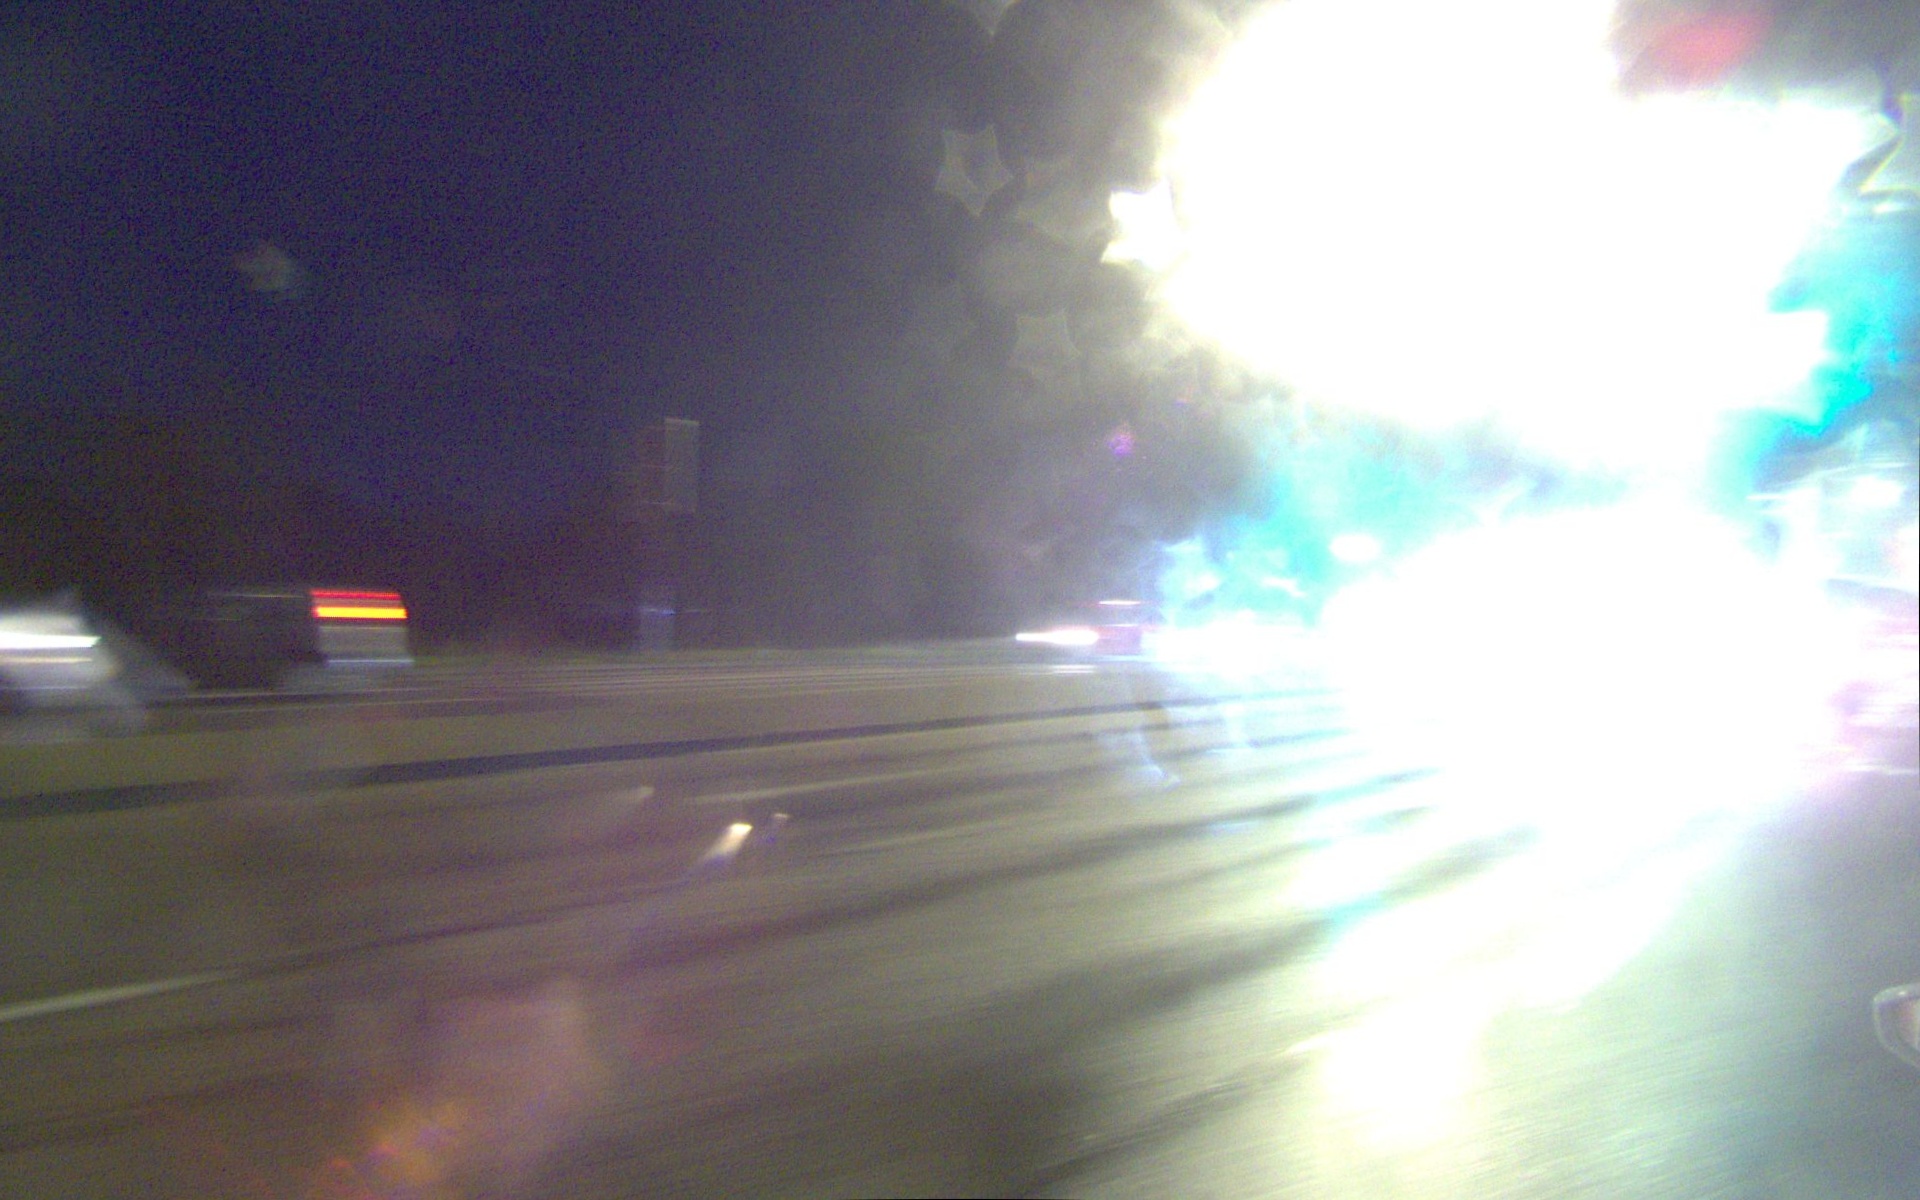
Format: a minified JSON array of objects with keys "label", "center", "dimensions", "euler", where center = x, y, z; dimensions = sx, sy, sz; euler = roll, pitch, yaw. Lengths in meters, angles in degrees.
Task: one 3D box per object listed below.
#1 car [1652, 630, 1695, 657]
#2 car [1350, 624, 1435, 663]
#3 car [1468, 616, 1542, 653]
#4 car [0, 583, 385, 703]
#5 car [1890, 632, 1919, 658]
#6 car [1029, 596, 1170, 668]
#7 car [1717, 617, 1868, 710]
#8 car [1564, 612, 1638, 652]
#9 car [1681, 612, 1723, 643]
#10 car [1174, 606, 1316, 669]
[{"label":"car","center":[53.692,3.263,75.556],"dimensions":[3.985,1.864,1.734],"euler":[2,0,-42]},{"label":"car","center":[18.406,1.847,42.691],"dimensions":[4.068,1.475,1.830],"euler":[3,0,-43]},{"label":"car","center":[23.470,1.483,43.212],"dimensions":[3.792,1.468,1.649],"euler":[2,0,-43]},{"label":"car","center":[-9.164,0.474,12.111],"dimensions":[3.590,1.219,1.627],"euler":[2,0,-44]},{"label":"car","center":[71.365,3.446,75.158],"dimensions":[3.973,1.622,2.157],"euler":[5,2,-43]},{"label":"car","center":[4.084,0.897,28.979],"dimensions":[4.175,1.917,1.746],"euler":[2,0,-43]},{"label":"car","center":[15.885,1.117,19.093],"dimensions":[1.778,1.472,4.241],"euler":[4,2,45]},{"label":"car","center":[25.155,1.238,39.413],"dimensions":[3.324,1.446,1.575],"euler":[1,0,-41]},{"label":"car","center":[50.869,1.894,68.828],"dimensions":[3.763,2.040,1.575],"euler":[1,0,-42]},{"label":"car","center":[7.970,1.001,27.945],"dimensions":[4.209,1.630,1.767],"euler":[1,-1,-40]}]
